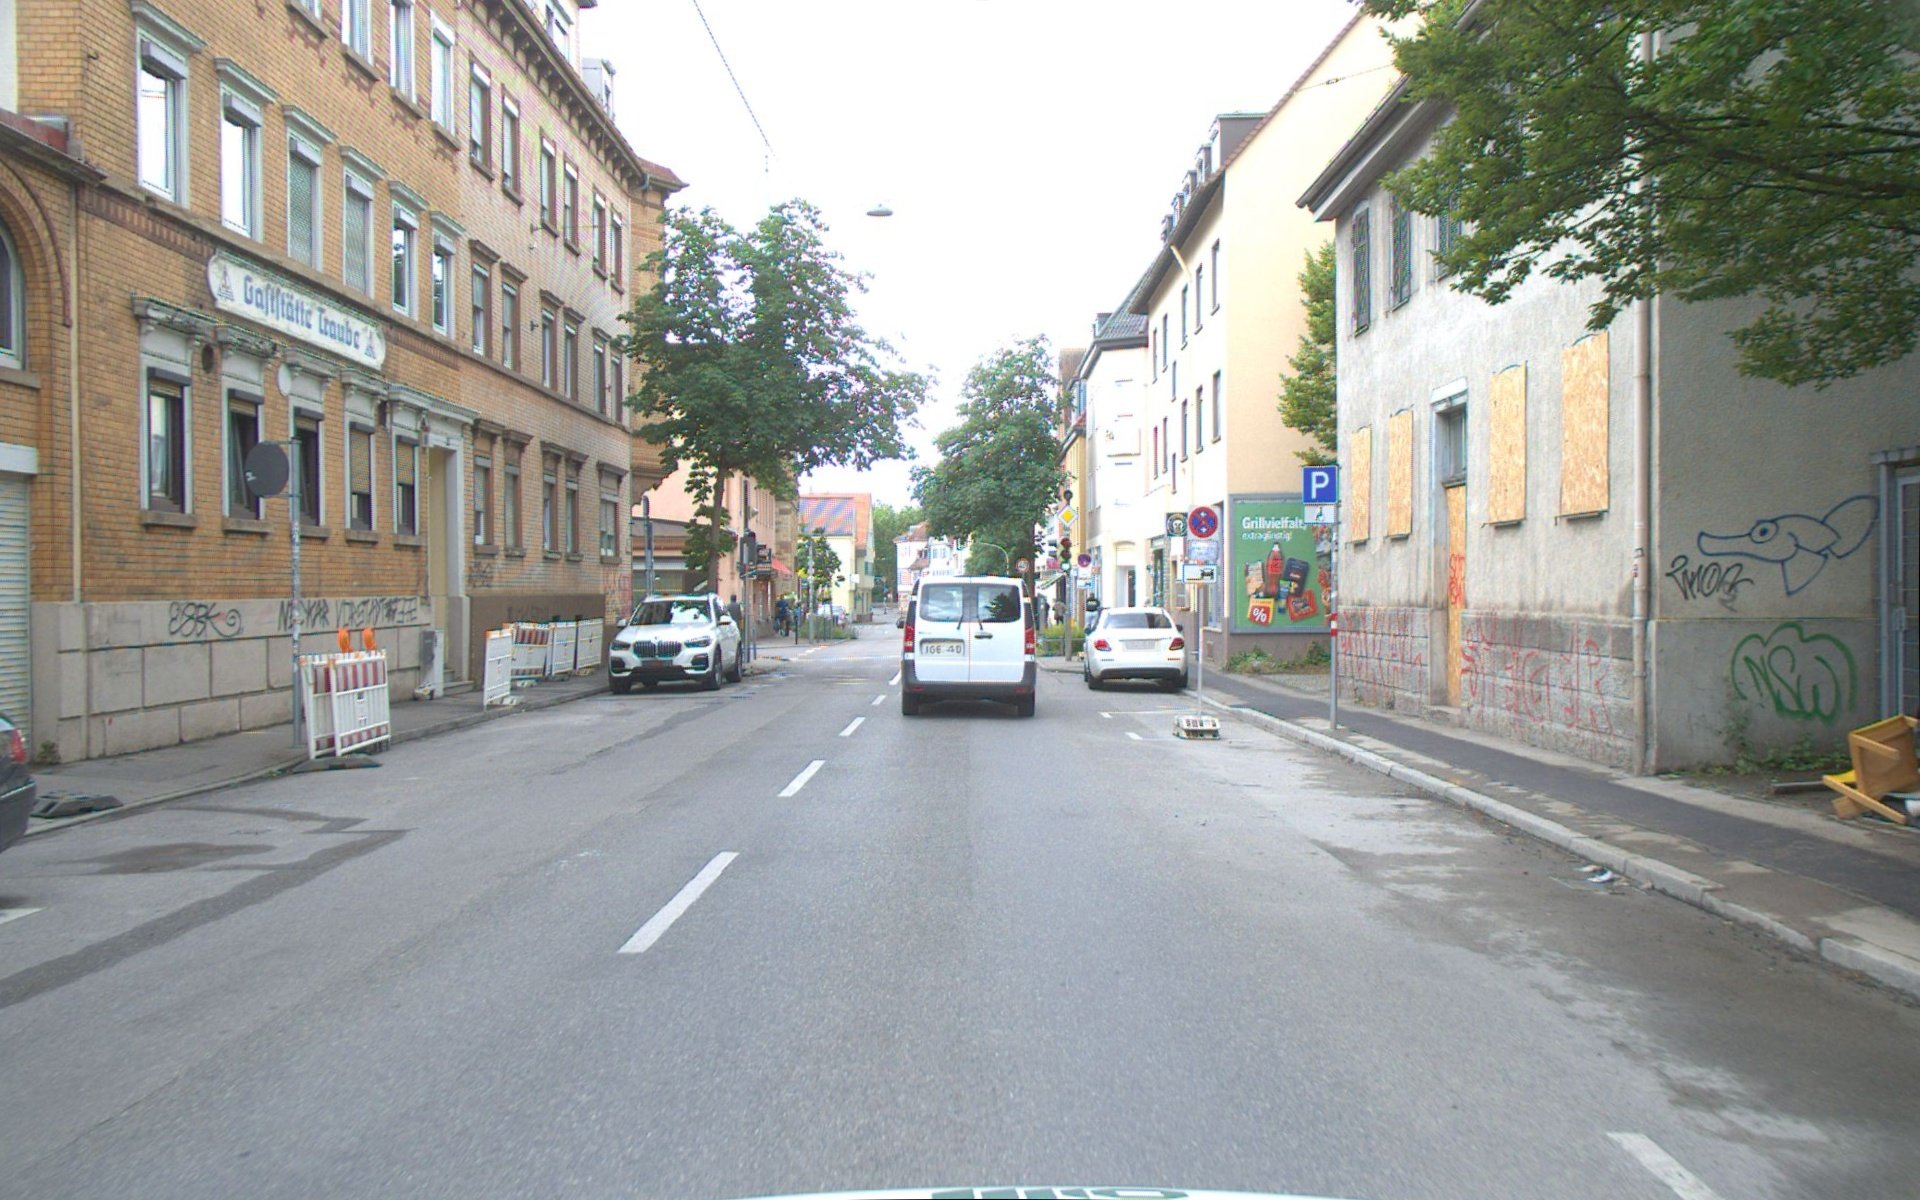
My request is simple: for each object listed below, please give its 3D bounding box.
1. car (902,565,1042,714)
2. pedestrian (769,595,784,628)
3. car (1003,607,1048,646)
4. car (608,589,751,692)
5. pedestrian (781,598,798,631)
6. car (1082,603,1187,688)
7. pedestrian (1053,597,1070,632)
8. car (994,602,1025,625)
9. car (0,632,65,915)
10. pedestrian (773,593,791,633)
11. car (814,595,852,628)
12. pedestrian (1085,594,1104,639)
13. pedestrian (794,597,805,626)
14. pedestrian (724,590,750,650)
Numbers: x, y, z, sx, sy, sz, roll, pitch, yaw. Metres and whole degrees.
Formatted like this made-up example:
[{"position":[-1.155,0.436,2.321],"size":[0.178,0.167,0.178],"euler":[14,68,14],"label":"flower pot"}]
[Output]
[{"position":[0.148,0.523,23.781],"size":[1.834,1.945,3.999],"euler":[0,0,-1],"label":"car"},{"position":[-9.285,0.570,83.737],"size":[0.717,1.657,0.756],"euler":[0,0,-11],"label":"pedestrian"},{"position":[3.168,1.283,80.484],"size":[1.783,1.812,4.400],"euler":[0,-1,-3],"label":"car"},{"position":[-5.253,0.703,31.598],"size":[1.852,1.742,4.741],"euler":[-2,0,0],"label":"car"},{"position":[-8.065,0.668,78.298],"size":[0.724,1.562,0.982],"euler":[0,0,-2],"label":"pedestrian"},{"position":[3.271,0.806,31.709],"size":[1.730,1.491,4.785],"euler":[0,0,3],"label":"car"},{"position":[4.919,0.702,80.279],"size":[0.687,1.678,0.888],"euler":[-2,0,-2],"label":"pedestrian"},{"position":[2.905,0.805,97.774],"size":[1.520,1.356,3.810],"euler":[0,0,-2],"label":"car"},{"position":[-5.641,0.909,6.731],"size":[1.546,1.407,4.354],"euler":[-2,0,1],"label":"car"},{"position":[-7.773,0.567,72.159],"size":[0.724,1.748,1.156],"euler":[0,0,-3],"label":"pedestrian"},{"position":[-6.554,0.573,85.716],"size":[1.668,1.601,4.449],"euler":[-3,0,-2],"label":"car"},{"position":[5.129,0.618,63.301],"size":[0.602,1.682,0.982],"euler":[0,0,-2],"label":"pedestrian"},{"position":[-8.838,0.657,91.061],"size":[0.559,1.581,0.696],"euler":[1,0,-1],"label":"pedestrian"},{"position":[-6.613,0.584,49.009],"size":[0.724,1.785,0.981],"euler":[0,0,-6],"label":"pedestrian"}]
